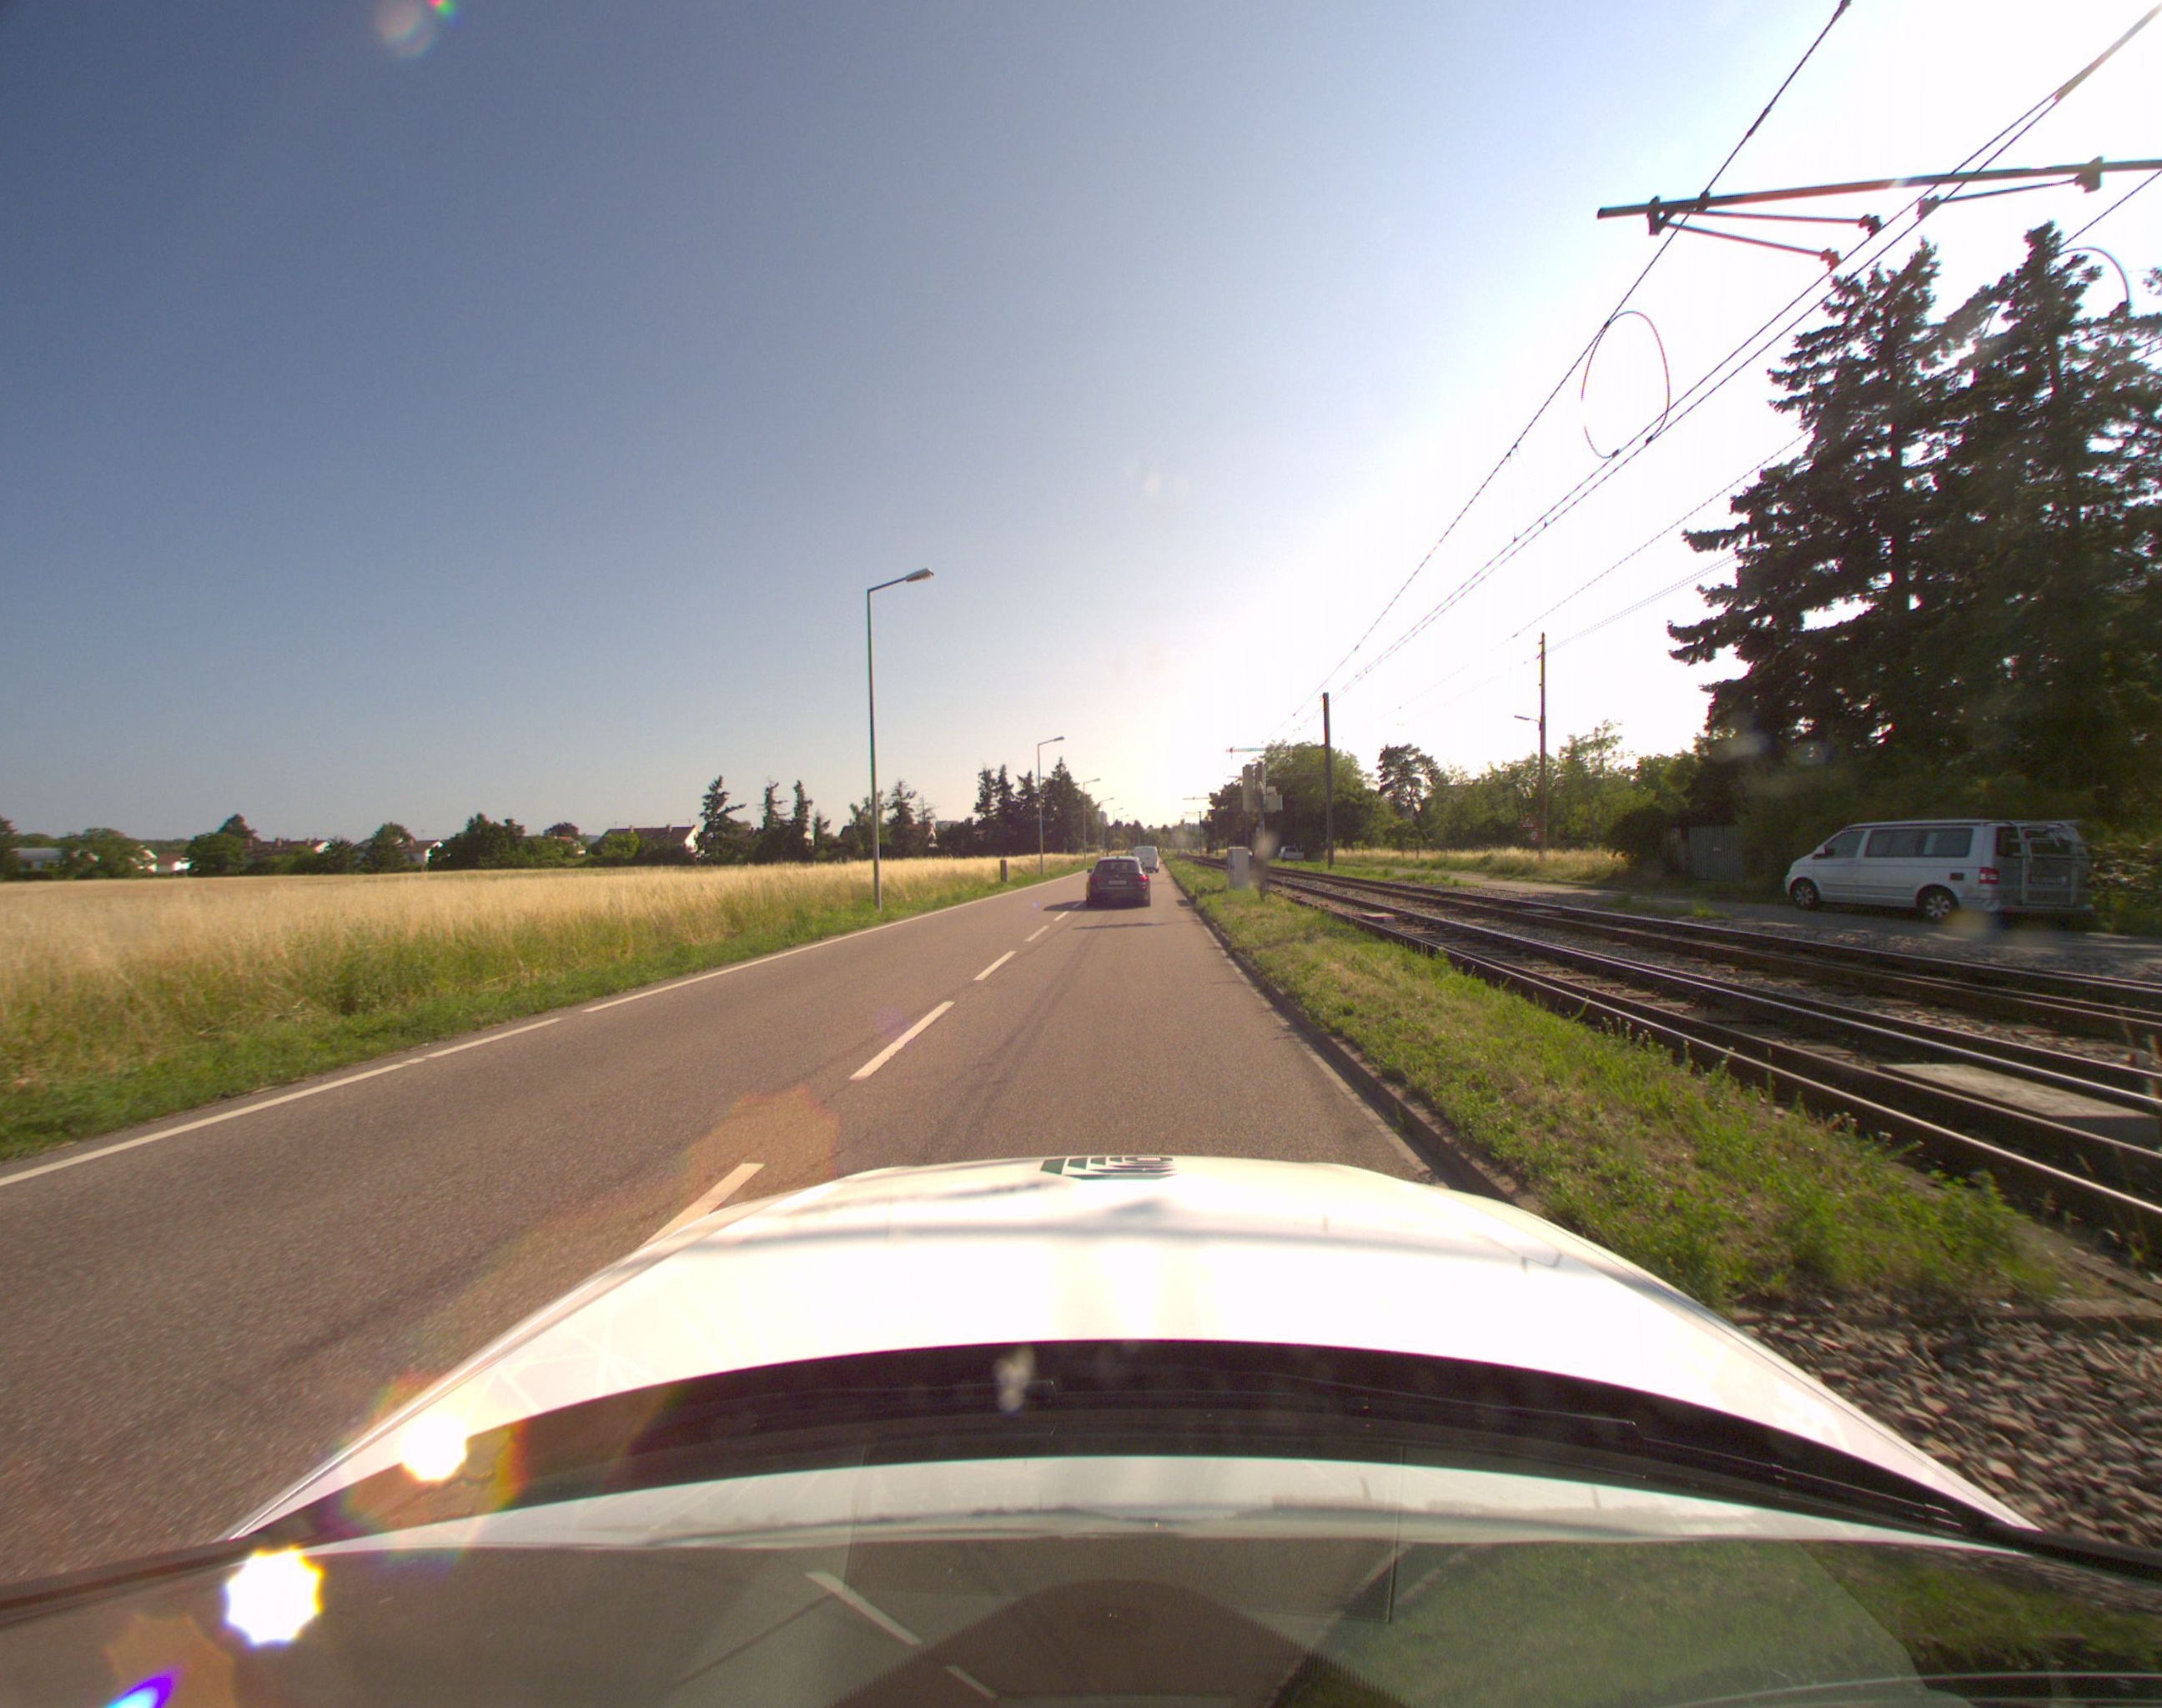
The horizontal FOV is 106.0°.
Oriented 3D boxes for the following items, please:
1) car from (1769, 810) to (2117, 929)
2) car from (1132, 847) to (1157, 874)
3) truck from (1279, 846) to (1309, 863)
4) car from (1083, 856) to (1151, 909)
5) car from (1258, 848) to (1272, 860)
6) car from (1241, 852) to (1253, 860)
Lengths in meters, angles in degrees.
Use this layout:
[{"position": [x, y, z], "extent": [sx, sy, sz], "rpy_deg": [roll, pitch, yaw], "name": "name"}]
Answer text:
[{"position": [17.042, 0.265, 16.619], "extent": [1.984, 2.004, 5.073], "rpy_deg": [1, 0, 4], "name": "car"}, {"position": [4.873, 0.428, 62.907], "extent": [1.849, 1.988, 5.113], "rpy_deg": [0, 0, 4], "name": "car"}, {"position": [23.966, 0.092, 91.841], "extent": [2.194, 1.819, 5.937], "rpy_deg": [-1, 0, 5], "name": "truck"}, {"position": [1.173, 0.801, 24.873], "extent": [1.860, 1.452, 4.749], "rpy_deg": [0, 0, 4], "name": "car"}, {"position": [27.020, 0.011, 119.849], "extent": [1.725, 1.679, 3.551], "rpy_deg": [0, -1, 8], "name": "car"}, {"position": [28.038, 0.355, 137.831], "extent": [1.613, 1.398, 3.495], "rpy_deg": [0, -1, 5], "name": "car"}]
